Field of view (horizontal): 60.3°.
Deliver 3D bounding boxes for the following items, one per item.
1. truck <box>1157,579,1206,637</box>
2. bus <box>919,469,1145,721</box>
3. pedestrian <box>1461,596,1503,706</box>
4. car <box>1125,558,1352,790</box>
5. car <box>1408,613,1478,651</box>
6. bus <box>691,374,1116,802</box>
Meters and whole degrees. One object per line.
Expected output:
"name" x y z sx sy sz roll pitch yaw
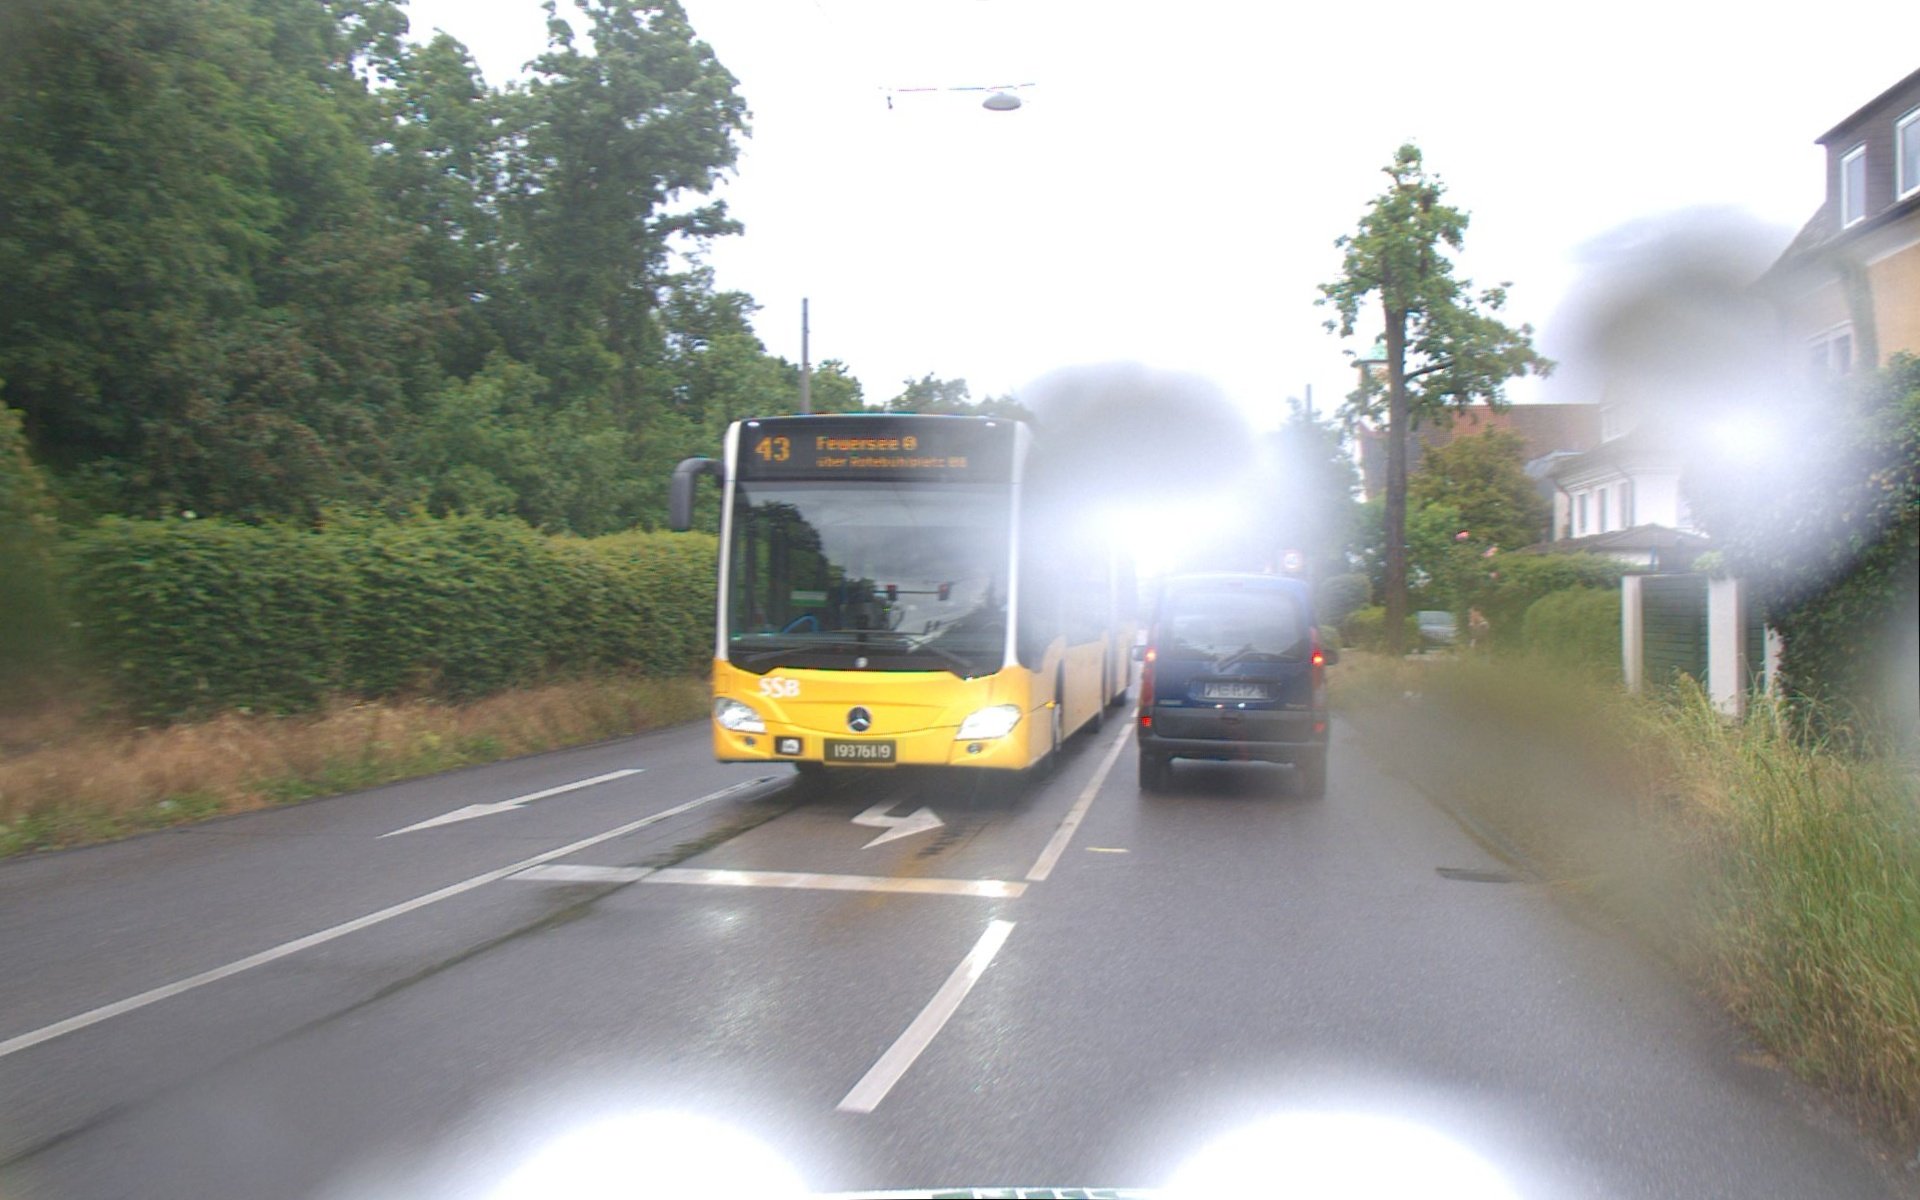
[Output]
"truck" 13.643 0.510 102.202 2.674 3.446 6.689 -1 -1 5
"bus" 1.400 -0.021 25.570 2.539 3.213 8.642 1 -1 9
"pedestrian" 7.516 0.727 23.835 0.471 1.561 0.440 1 -1 5
"car" 2.488 0.617 15.154 1.770 1.829 4.003 0 -1 8
"car" 16.189 1.074 55.579 1.792 1.197 4.003 1 -1 10
"bus" -0.008 -0.046 16.724 2.587 3.098 9.237 1 -1 9
